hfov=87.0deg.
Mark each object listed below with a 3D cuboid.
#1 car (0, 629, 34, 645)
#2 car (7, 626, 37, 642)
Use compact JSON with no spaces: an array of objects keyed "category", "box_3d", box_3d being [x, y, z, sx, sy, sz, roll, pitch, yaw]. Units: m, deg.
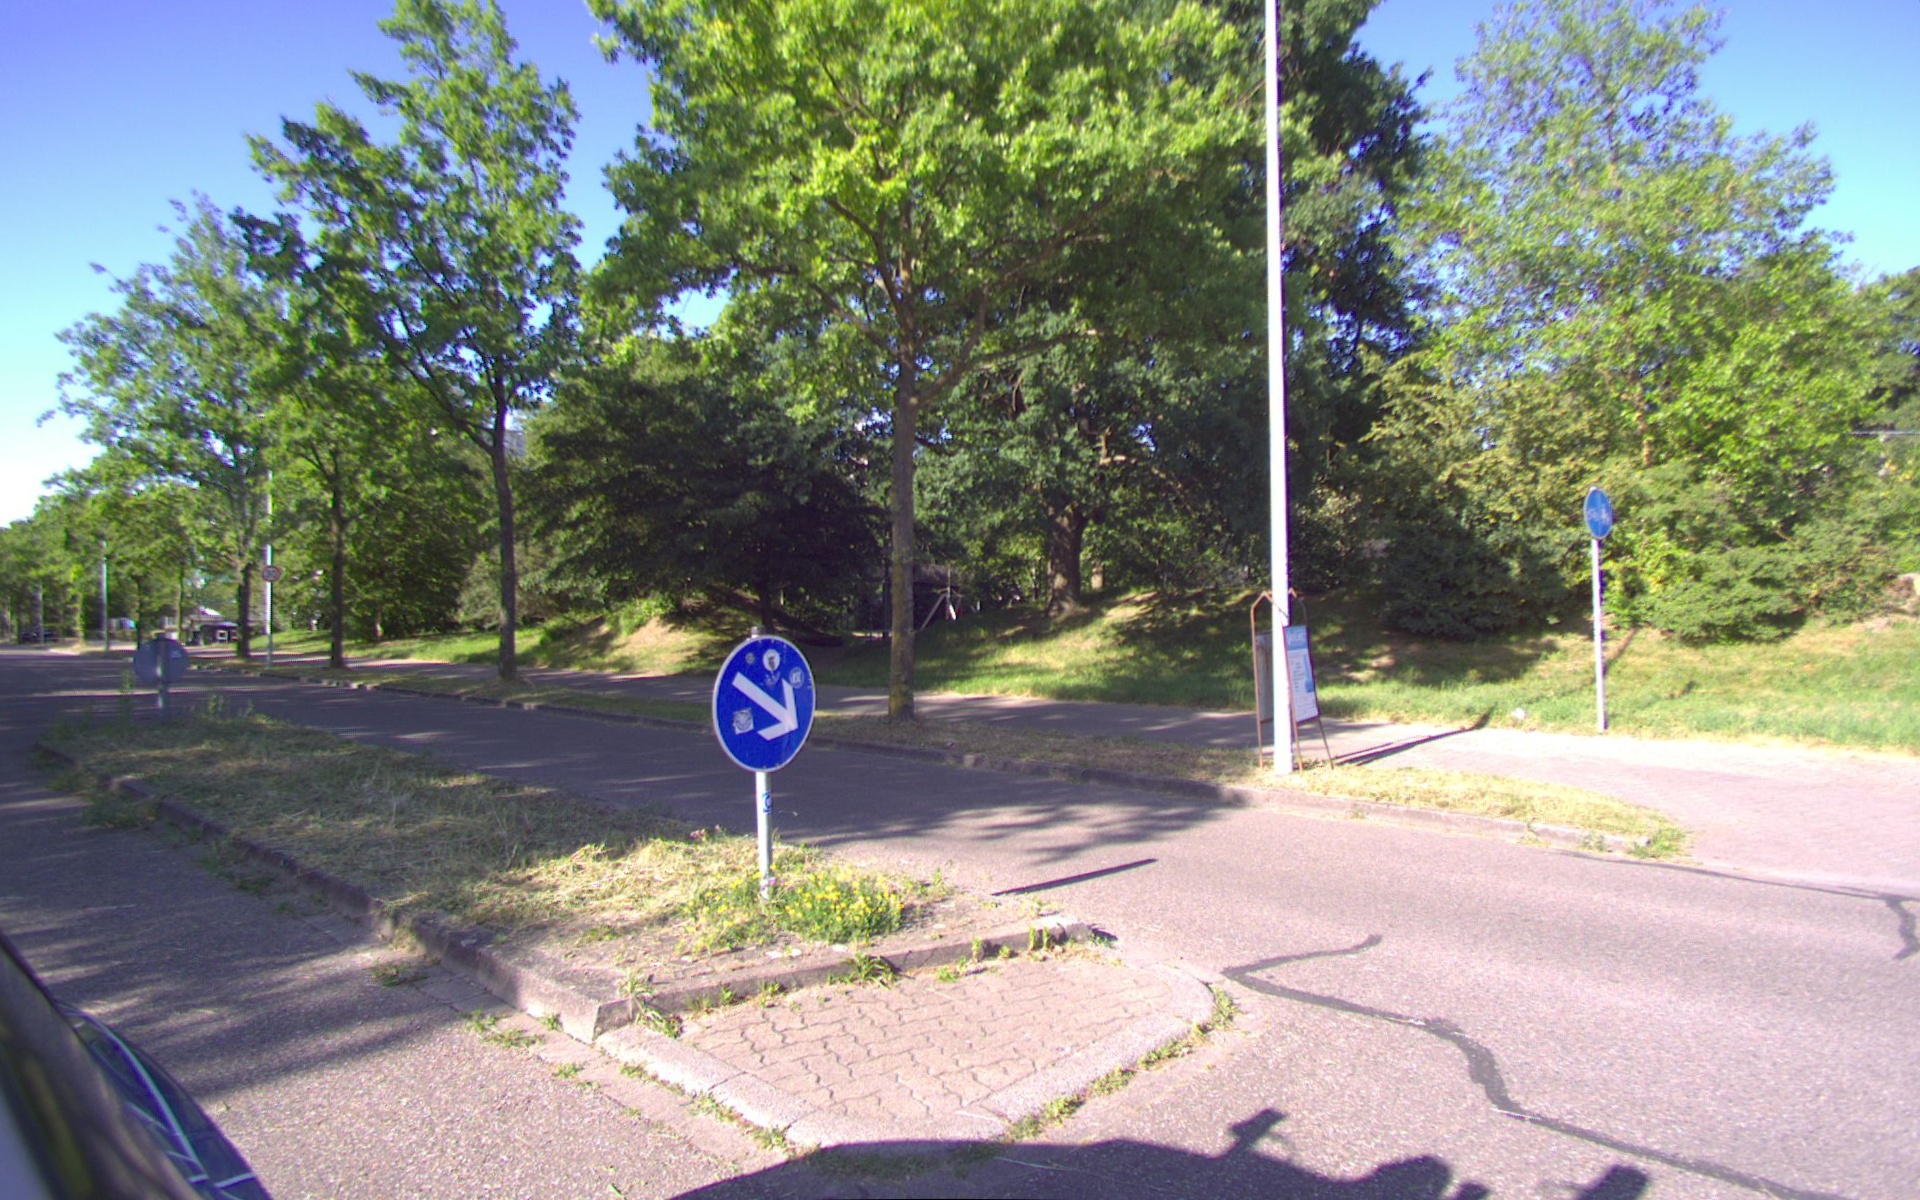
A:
[{"category":"car","box_3d":[-85.903,3.377,91.977,3.995,1.377,1.974,-1,-1,38]},{"category":"car","box_3d":[-98.598,3.579,106.351,3.999,1.595,1.972,-1,-2,42]}]
